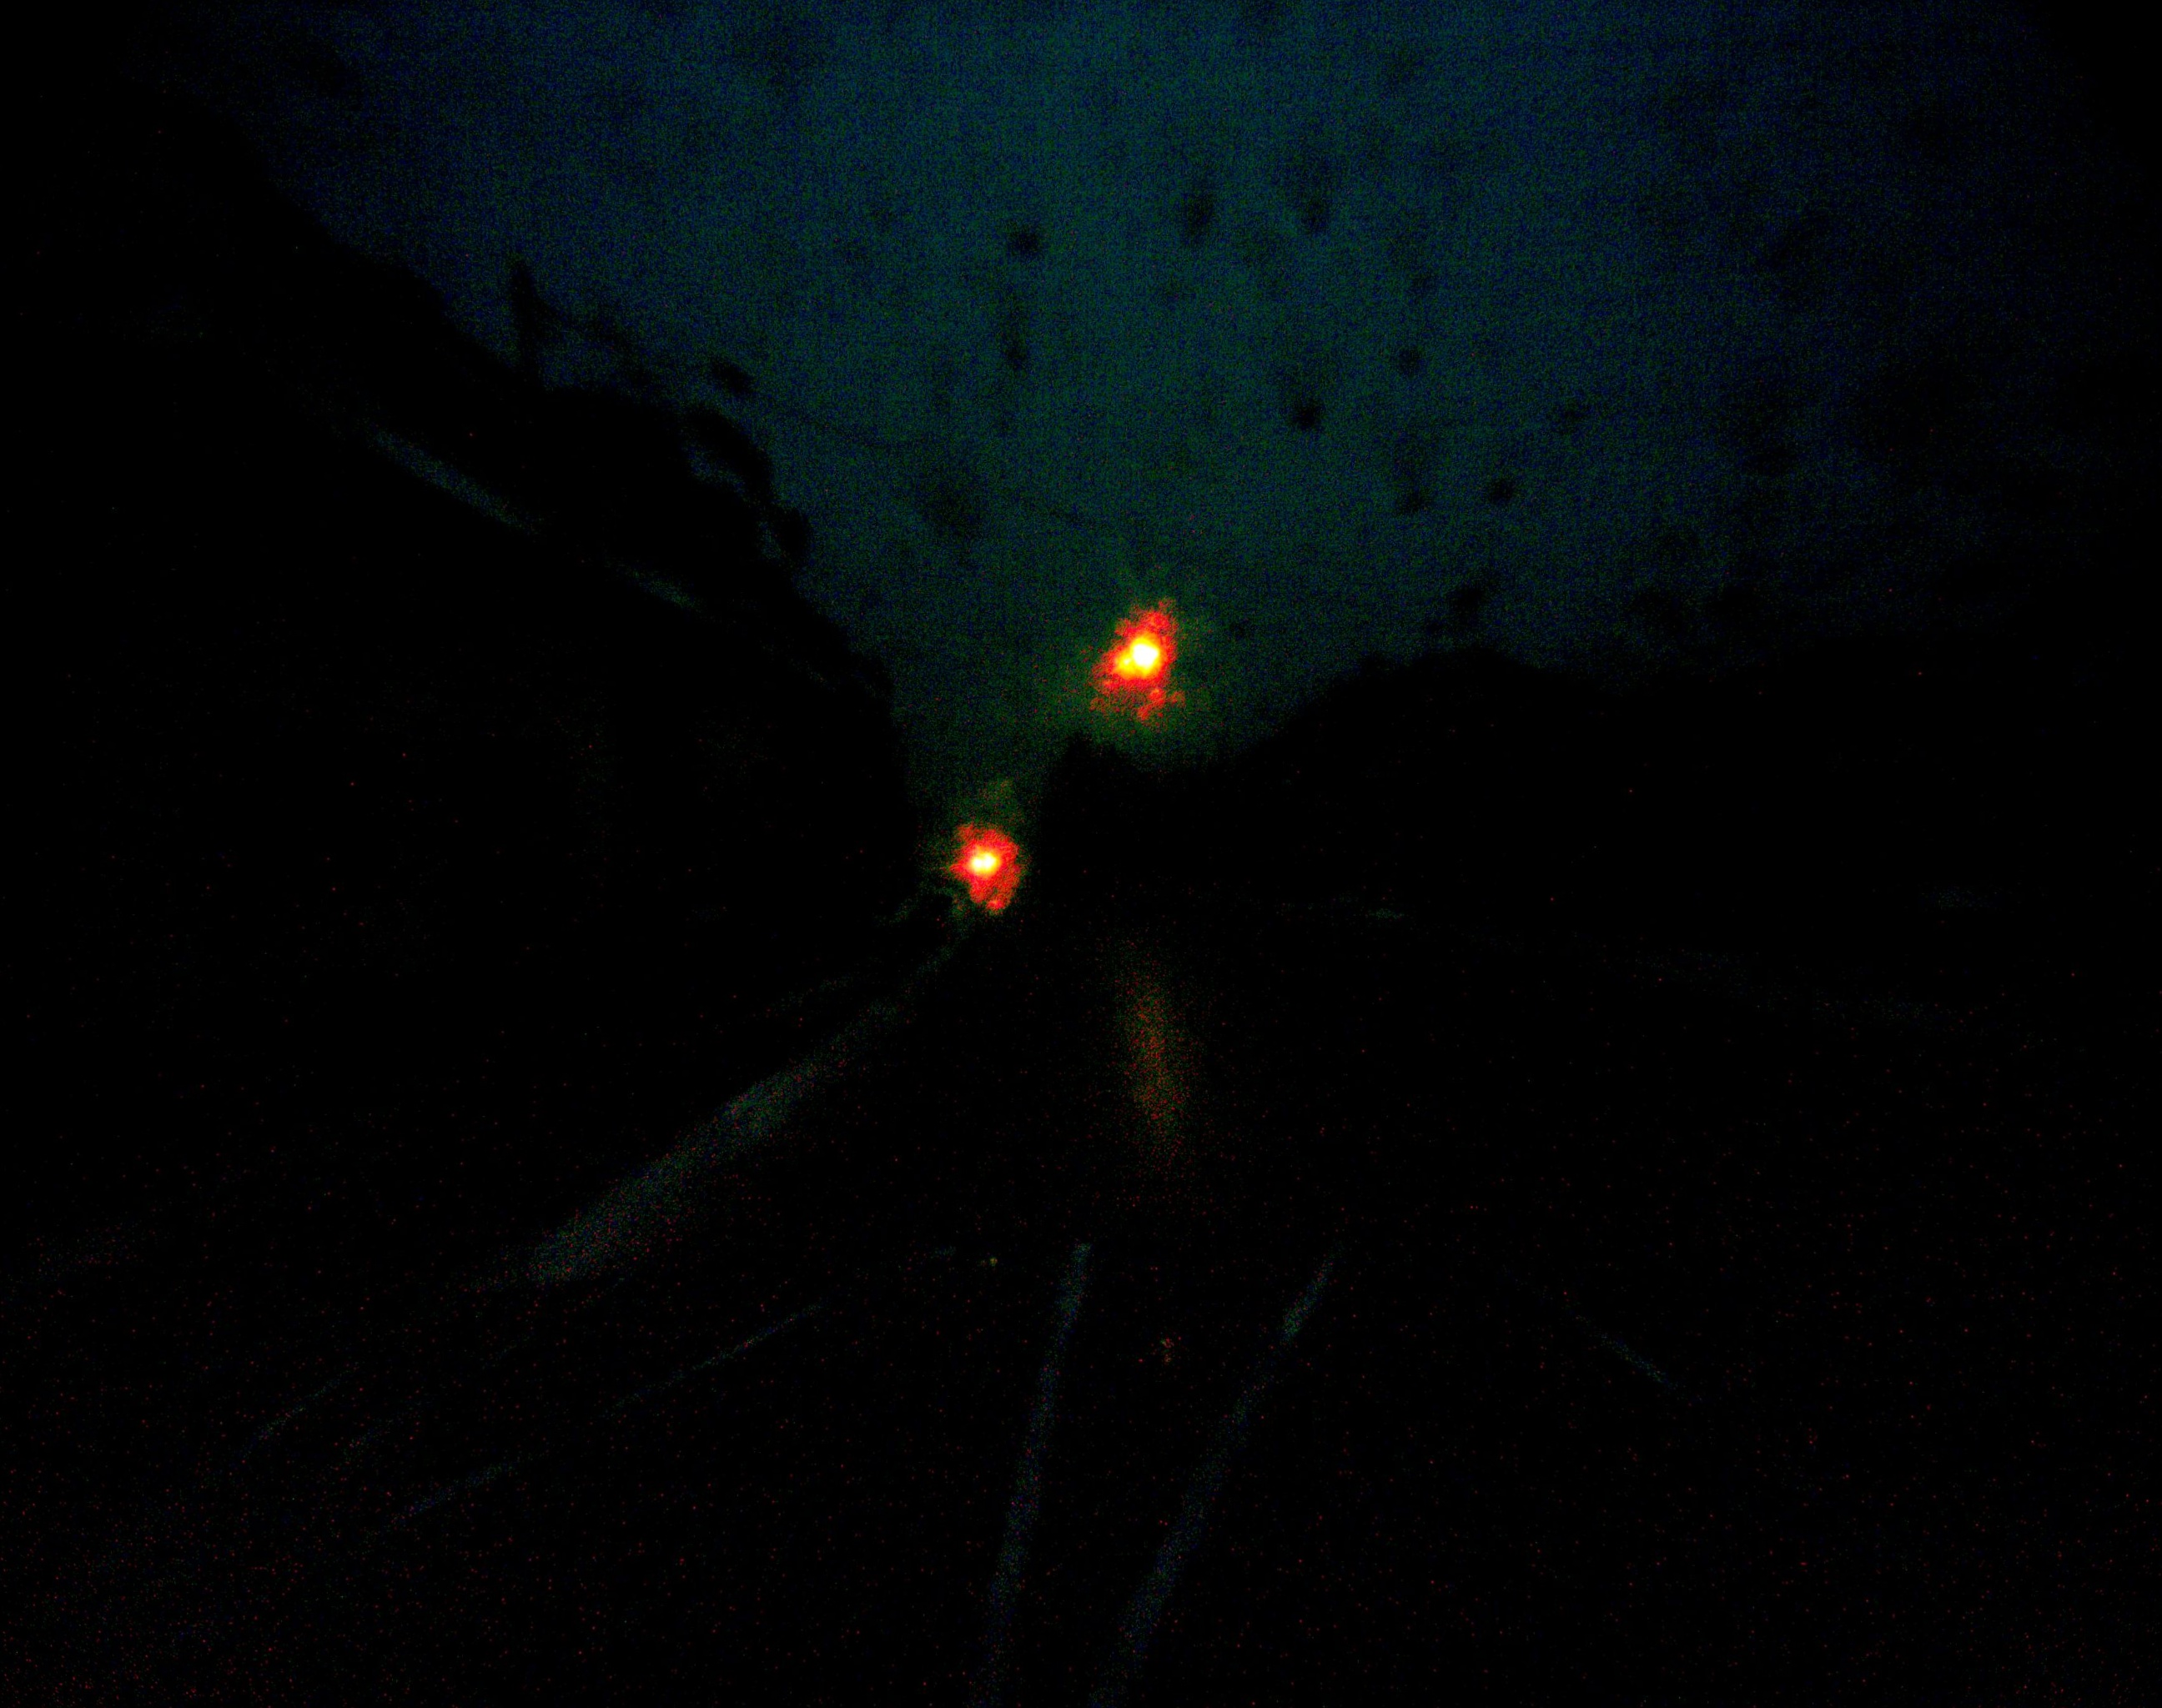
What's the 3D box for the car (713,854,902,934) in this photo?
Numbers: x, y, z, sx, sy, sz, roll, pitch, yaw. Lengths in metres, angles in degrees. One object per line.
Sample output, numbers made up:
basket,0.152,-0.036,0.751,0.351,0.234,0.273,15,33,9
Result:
car,-6.551,0.895,18.371,4.003,1.528,1.996,-4,1,-22
